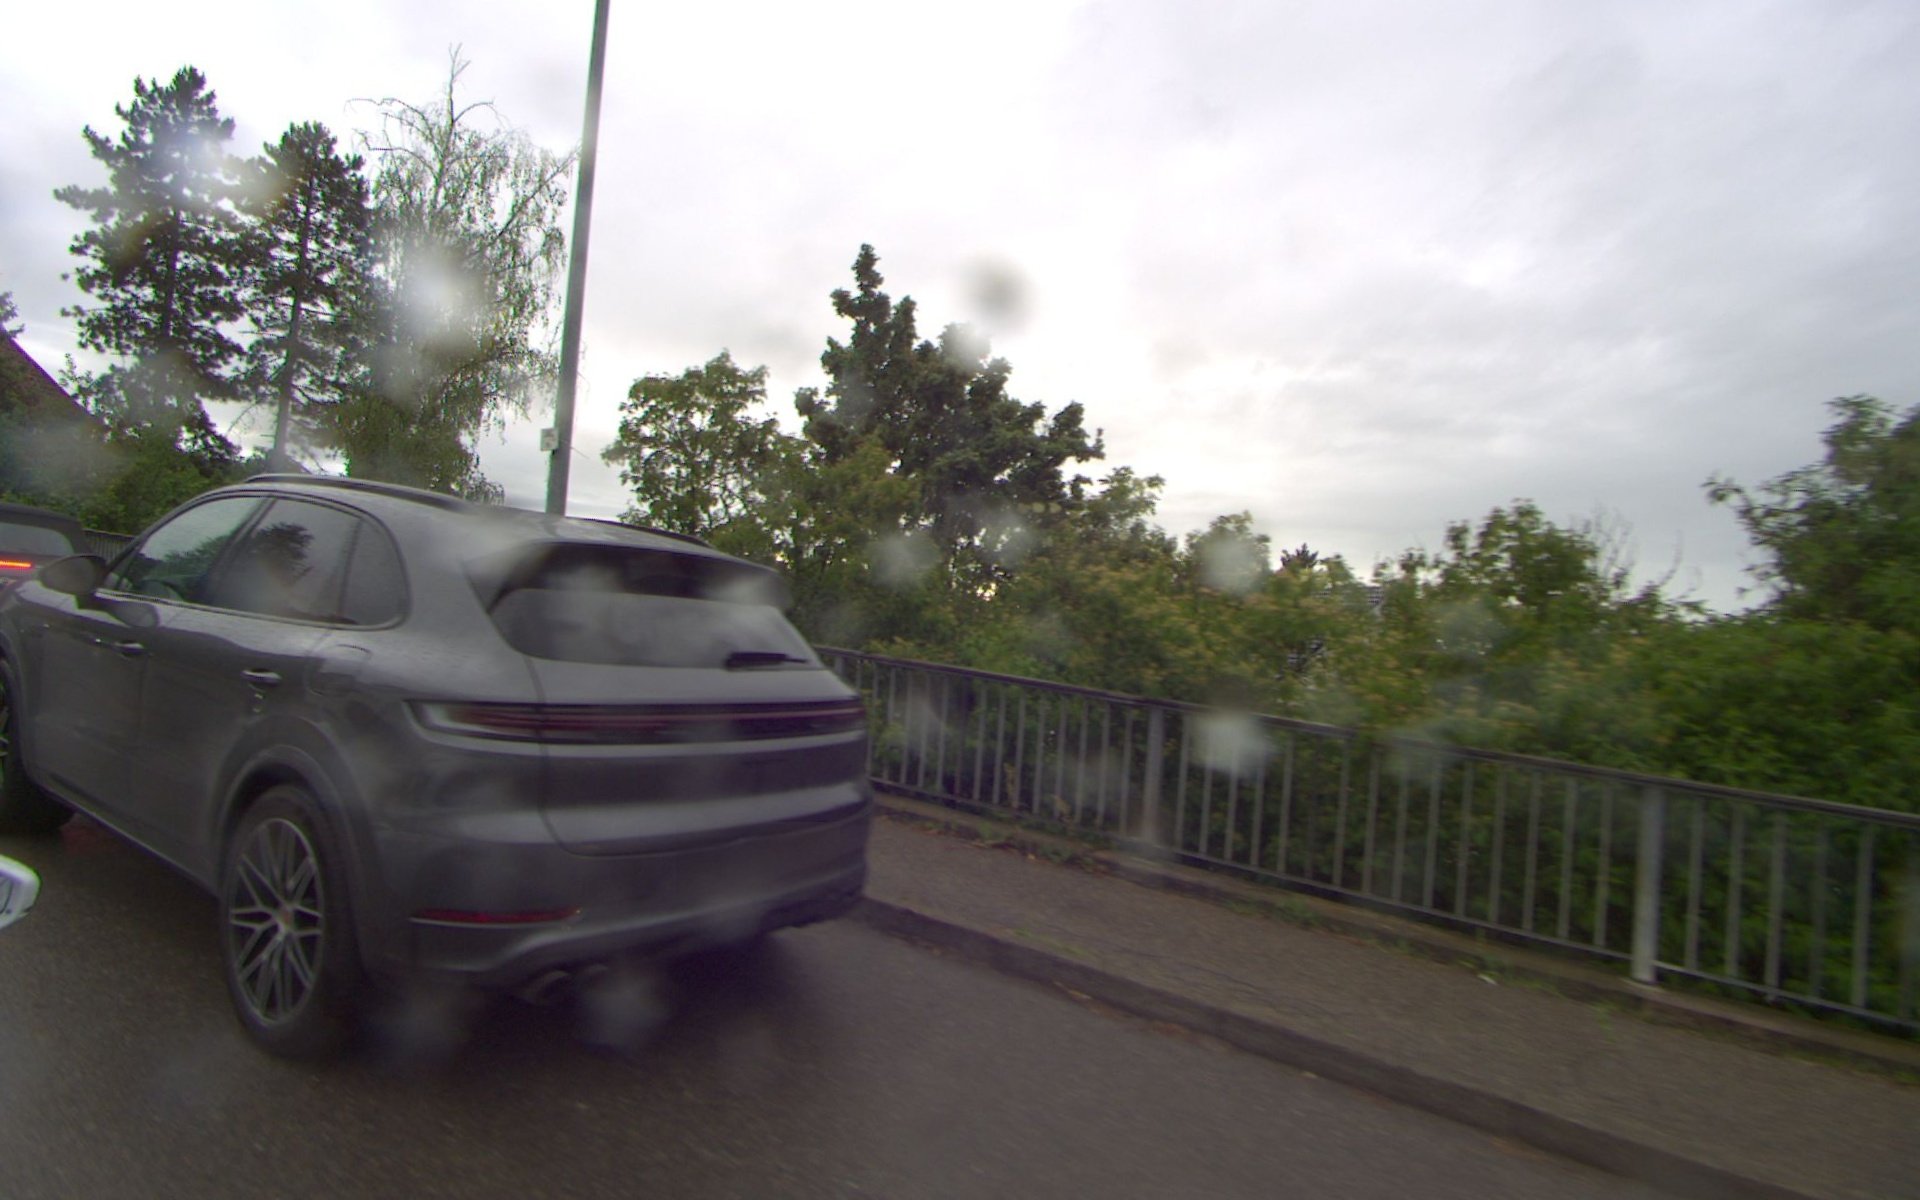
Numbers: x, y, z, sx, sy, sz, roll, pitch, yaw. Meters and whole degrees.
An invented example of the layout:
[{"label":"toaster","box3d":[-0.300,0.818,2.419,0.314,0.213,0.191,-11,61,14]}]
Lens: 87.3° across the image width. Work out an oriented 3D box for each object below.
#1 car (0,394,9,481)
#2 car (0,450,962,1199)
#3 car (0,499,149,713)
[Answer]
[{"label":"car","box3d":[-13.198,-1.262,11.365,5.858,2.536,2.034,6,0,32]},{"label":"car","box3d":[-2.519,0.404,4.385,4.618,1.692,1.938,6,-1,33]},{"label":"car","box3d":[-8.053,-0.130,7.798,3.736,1.446,1.591,6,-1,33]}]
